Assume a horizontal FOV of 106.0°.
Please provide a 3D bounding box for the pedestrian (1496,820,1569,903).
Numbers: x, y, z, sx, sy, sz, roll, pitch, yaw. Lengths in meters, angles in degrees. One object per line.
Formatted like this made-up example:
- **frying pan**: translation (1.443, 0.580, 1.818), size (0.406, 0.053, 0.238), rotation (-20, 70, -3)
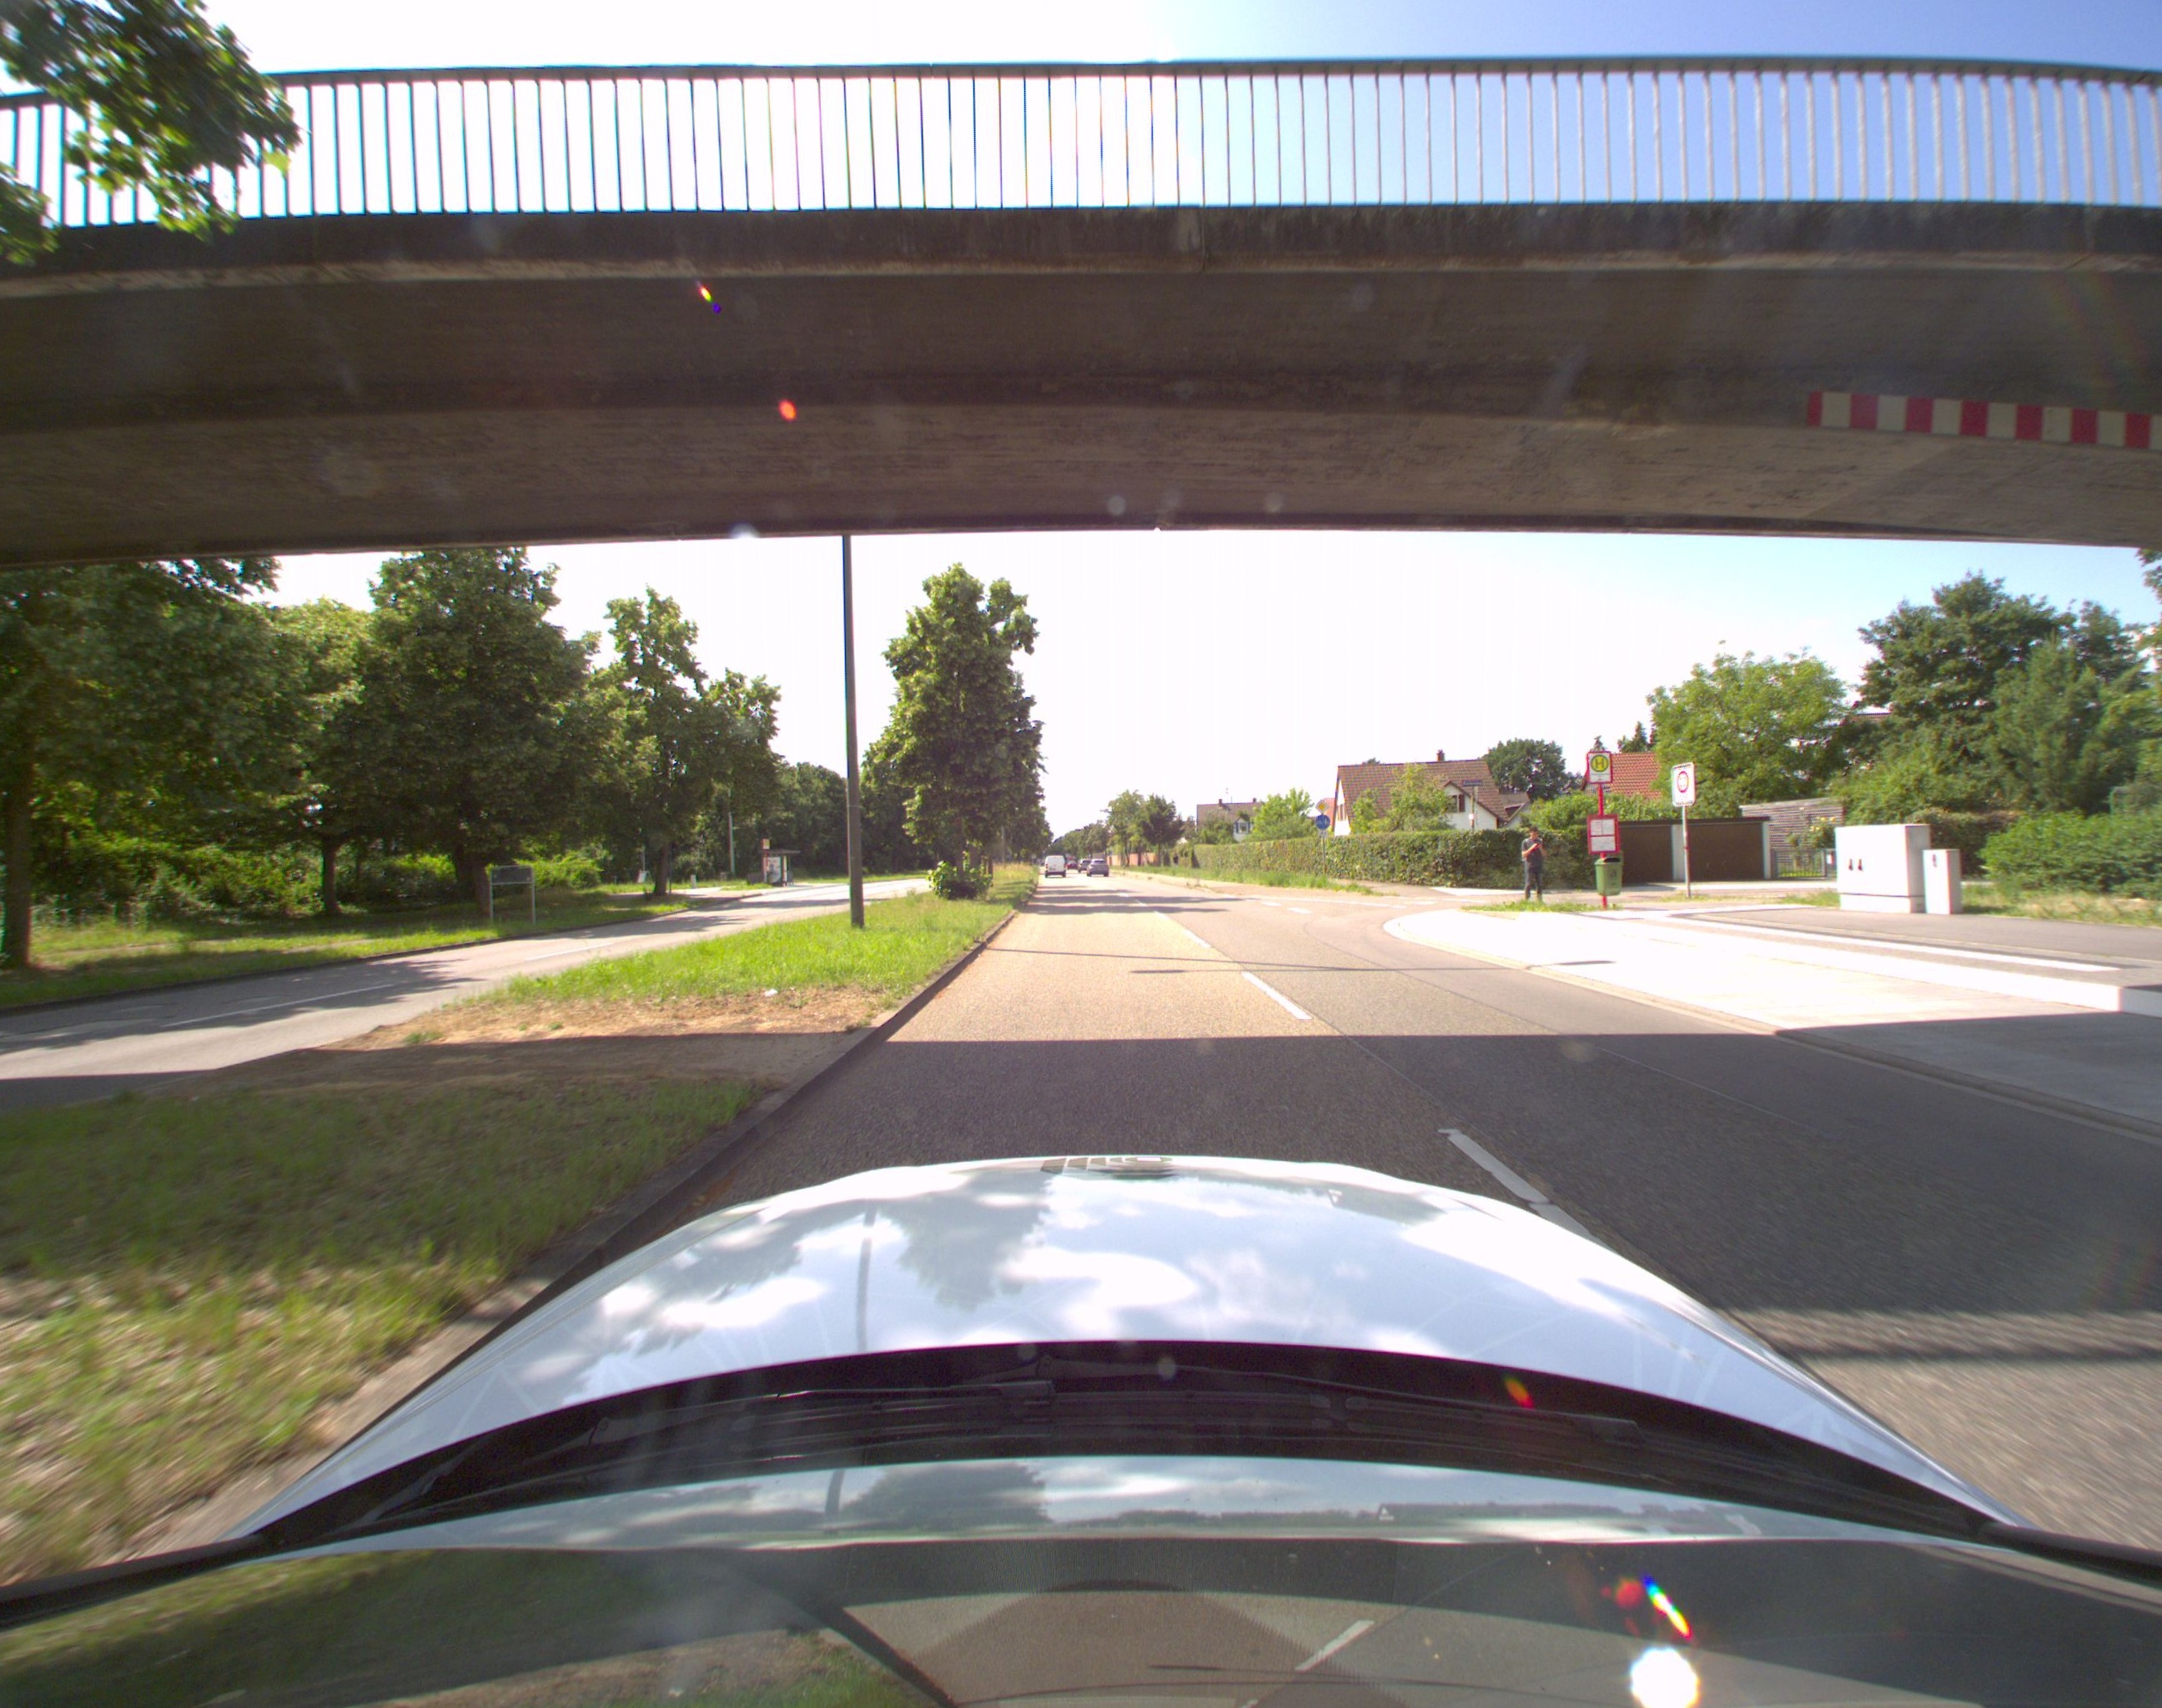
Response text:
- **pedestrian**: translation (10.401, 0.192, 18.799), size (0.951, 1.824, 1.087), rotation (-3, -3, 0)

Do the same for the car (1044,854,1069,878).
- **car**: translation (-2.152, 1.006, 70.635), size (2.061, 1.912, 4.641), rotation (-1, 0, -3)

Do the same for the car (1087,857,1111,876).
- **car**: translation (1.550, 1.094, 72.195), size (1.871, 1.589, 4.180), rotation (-2, -1, -3)

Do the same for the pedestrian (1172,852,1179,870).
- **pedestrian**: translation (8.880, 0.647, 76.532), size (0.559, 1.677, 0.633), rotation (-1, -1, -4)

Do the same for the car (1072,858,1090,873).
- **car**: translation (-0.014, 1.393, 98.420), size (1.871, 1.652, 3.996), rotation (-2, -1, -3)

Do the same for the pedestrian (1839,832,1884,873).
- **pedestrian**: translation (25.459, -0.054, 26.571), size (0.638, 1.300, 0.917), rotation (-1, 0, -36)

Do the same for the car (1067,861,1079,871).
- **car**: translation (-1.326, 1.952, 137.007), size (1.876, 1.587, 3.996), rotation (-1, 0, -3)
